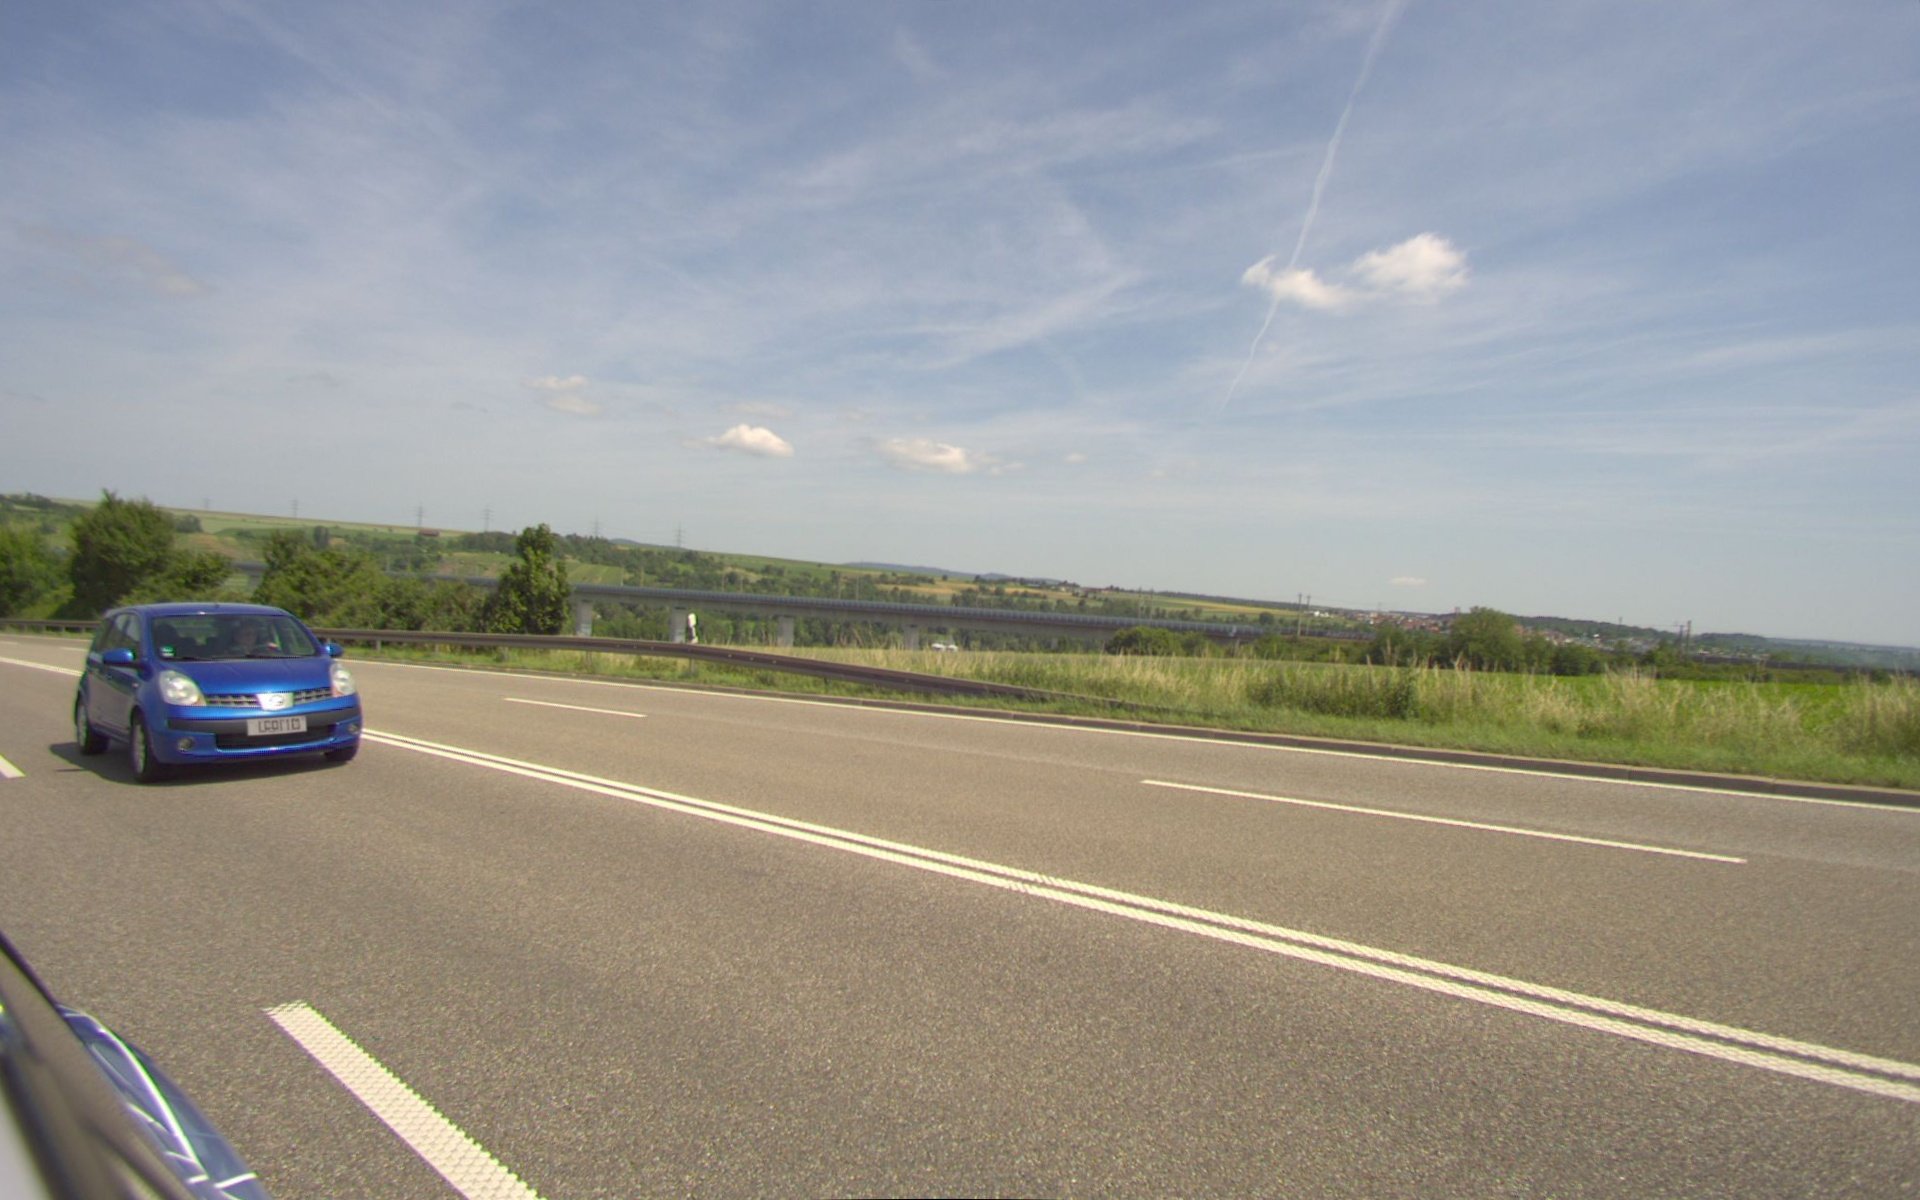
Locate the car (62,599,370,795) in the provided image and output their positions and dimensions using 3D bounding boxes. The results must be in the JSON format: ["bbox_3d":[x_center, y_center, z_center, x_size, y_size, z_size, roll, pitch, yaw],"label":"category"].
[{"bbox_3d":[-7.386,0.786,9.904,3.913,1.542,1.615,-1,0,41],"label":"car"}]
